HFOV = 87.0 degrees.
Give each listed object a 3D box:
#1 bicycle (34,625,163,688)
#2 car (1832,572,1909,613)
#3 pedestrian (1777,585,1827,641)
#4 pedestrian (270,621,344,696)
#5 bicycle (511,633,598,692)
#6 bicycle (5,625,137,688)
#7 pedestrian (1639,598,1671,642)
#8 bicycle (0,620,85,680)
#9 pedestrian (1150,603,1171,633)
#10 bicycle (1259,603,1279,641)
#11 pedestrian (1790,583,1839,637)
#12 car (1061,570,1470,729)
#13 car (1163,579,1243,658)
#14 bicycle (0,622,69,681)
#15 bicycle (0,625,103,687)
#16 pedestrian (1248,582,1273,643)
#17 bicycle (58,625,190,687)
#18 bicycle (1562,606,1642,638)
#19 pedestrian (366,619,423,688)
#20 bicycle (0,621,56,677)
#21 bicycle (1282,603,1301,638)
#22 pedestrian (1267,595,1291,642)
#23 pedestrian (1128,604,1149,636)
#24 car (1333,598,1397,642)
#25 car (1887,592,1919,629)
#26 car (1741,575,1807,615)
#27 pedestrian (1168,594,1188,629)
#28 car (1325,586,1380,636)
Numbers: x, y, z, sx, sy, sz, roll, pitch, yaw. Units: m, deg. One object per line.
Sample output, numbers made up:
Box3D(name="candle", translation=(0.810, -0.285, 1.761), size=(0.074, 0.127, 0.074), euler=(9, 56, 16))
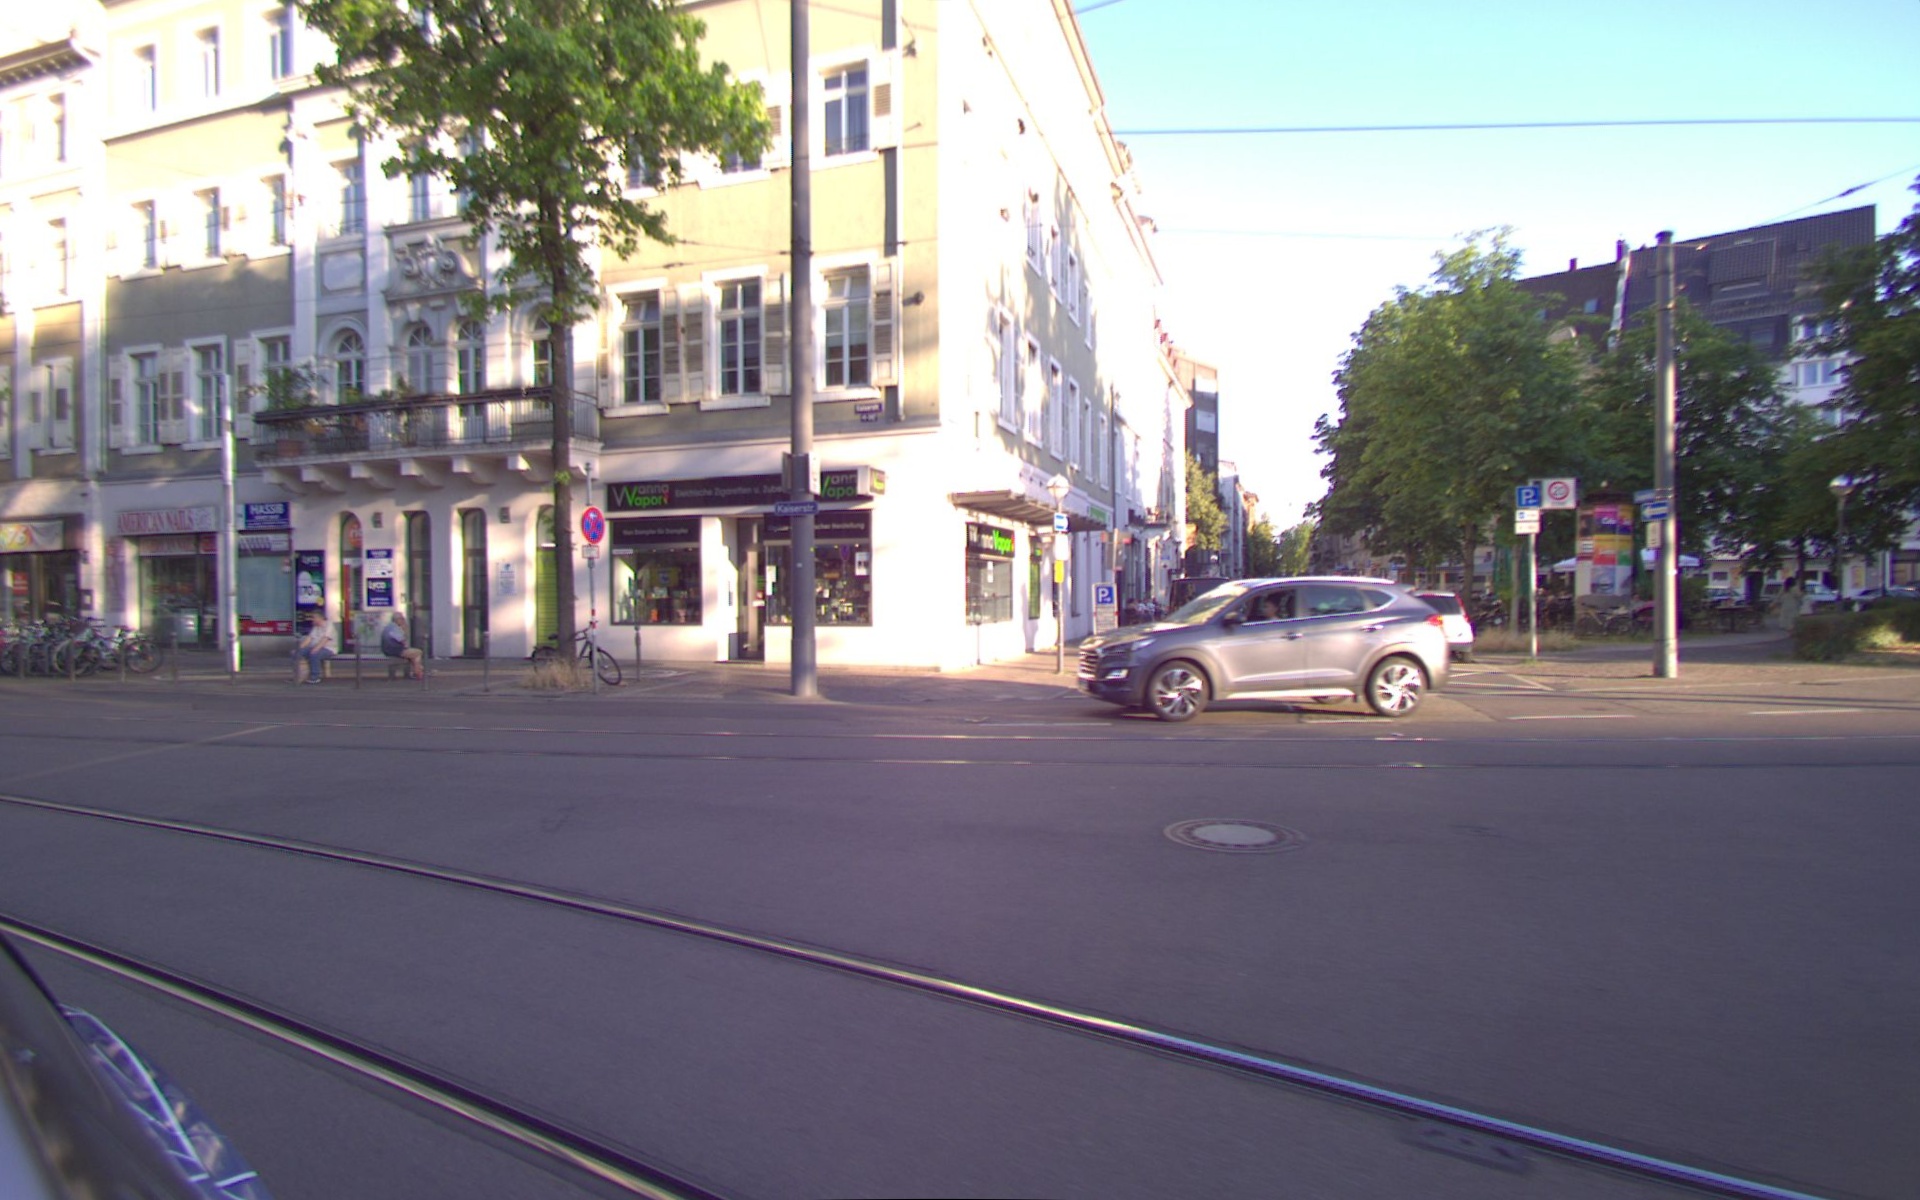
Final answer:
Box3D(name="bicycle", translation=(-17.617, 1.120, 20.757), size=(0.497, 1.113, 2.016), euler=(0, 2, 21))
Box3D(name="car", translation=(41.786, -0.352, 46.521), size=(1.994, 1.796, 3.955), euler=(-1, 0, 33))
Box3D(name="pedestrian", translation=(21.690, 0.335, 26.080), size=(0.758, 1.421, 0.747), euler=(-1, -1, -29))
Box3D(name="pedestrian", translation=(-11.835, 1.046, 18.351), size=(0.849, 1.300, 0.726), euler=(-1, 0, 17))
Box3D(name="bicycle", translation=(-6.774, 1.041, 16.896), size=(1.498, 0.953, 0.335), euler=(-1, -1, 20))
Box3D(name="bicycle", translation=(-18.217, 1.132, 20.798), size=(0.497, 1.113, 2.016), euler=(0, 2, 21))
Box3D(name="pedestrian", translation=(20.153, 0.571, 29.361), size=(0.624, 1.243, 0.515), euler=(-1, 0, 17))
Box3D(name="bicycle", translation=(-19.560, 1.028, 21.409), size=(0.493, 1.113, 2.033), euler=(-1, 2, -6))
Box3D(name="pedestrian", translation=(8.905, 0.785, 44.945), size=(0.766, 1.319, 0.740), euler=(-1, -1, 20))
Box3D(name="bicycle", translation=(10.014, 0.698, 32.810), size=(0.561, 1.160, 2.013), euler=(-1, 0, 16))
Box3D(name="pedestrian", translation=(22.653, 0.267, 26.833), size=(0.758, 1.421, 0.747), euler=(-1, -1, -29))
Box3D(name="car", translation=(3.578, 0.583, 12.395), size=(4.291, 1.689, 1.972), euler=(-1, -2, -6))
Box3D(name="car", translation=(6.907, 0.472, 28.441), size=(1.910, 2.029, 4.608), euler=(-1, 0, 17))
Box3D(name="bicycle", translation=(-20.140, 1.088, 21.631), size=(0.493, 1.113, 2.118), euler=(-1, 2, -6))
Box3D(name="bicycle", translation=(-18.996, 1.145, 21.219), size=(0.493, 1.113, 2.033), euler=(-1, 2, -6))
Box3D(name="pedestrian", translation=(9.780, 0.407, 32.958), size=(0.739, 1.950, 0.767), euler=(-1, -1, 18))
Box3D(name="bicycle", translation=(-16.817, 1.103, 20.425), size=(1.997, 1.113, 0.502), euler=(-2, 2, -37))
Box3D(name="bicycle", translation=(17.764, 0.606, 28.037), size=(0.453, 0.844, 1.809), euler=(-1, 0, -42))
Box3D(name="pedestrian", translation=(-10.169, 0.950, 18.208), size=(0.636, 1.203, 0.590), euler=(-1, 0, 16))
Box3D(name="bicycle", translation=(-20.820, 1.070, 22.111), size=(0.559, 1.113, 1.954), euler=(-1, 2, -6))
Box3D(name="bicycle", translation=(11.375, 0.694, 34.773), size=(0.561, 1.160, 2.013), euler=(-1, 0, 16))
Box3D(name="pedestrian", translation=(11.031, 0.647, 34.967), size=(0.739, 1.592, 0.767), euler=(-1, -1, 18))
Box3D(name="pedestrian", translation=(7.063, 0.790, 40.005), size=(0.702, 1.213, 0.767), euler=(-1, -1, 18))
Box3D(name="car", translation=(15.013, 0.728, 37.695), size=(1.883, 1.527, 3.615), euler=(-1, 0, 17))
Box3D(name="car", translation=(30.916, 0.296, 31.017), size=(3.226, 1.126, 1.716), euler=(-1, -1, 10))
Box3D(name="car", translation=(38.607, -0.256, 48.077), size=(1.994, 1.796, 3.955), euler=(-1, 0, 33))
Box3D(name="pedestrian", translation=(9.825, 0.523, 45.627), size=(0.766, 1.569, 0.740), euler=(-1, -1, 20))
Box3D(name="car", translation=(16.886, 0.433, 43.704), size=(1.883, 2.045, 3.973), euler=(-1, 0, 17))
